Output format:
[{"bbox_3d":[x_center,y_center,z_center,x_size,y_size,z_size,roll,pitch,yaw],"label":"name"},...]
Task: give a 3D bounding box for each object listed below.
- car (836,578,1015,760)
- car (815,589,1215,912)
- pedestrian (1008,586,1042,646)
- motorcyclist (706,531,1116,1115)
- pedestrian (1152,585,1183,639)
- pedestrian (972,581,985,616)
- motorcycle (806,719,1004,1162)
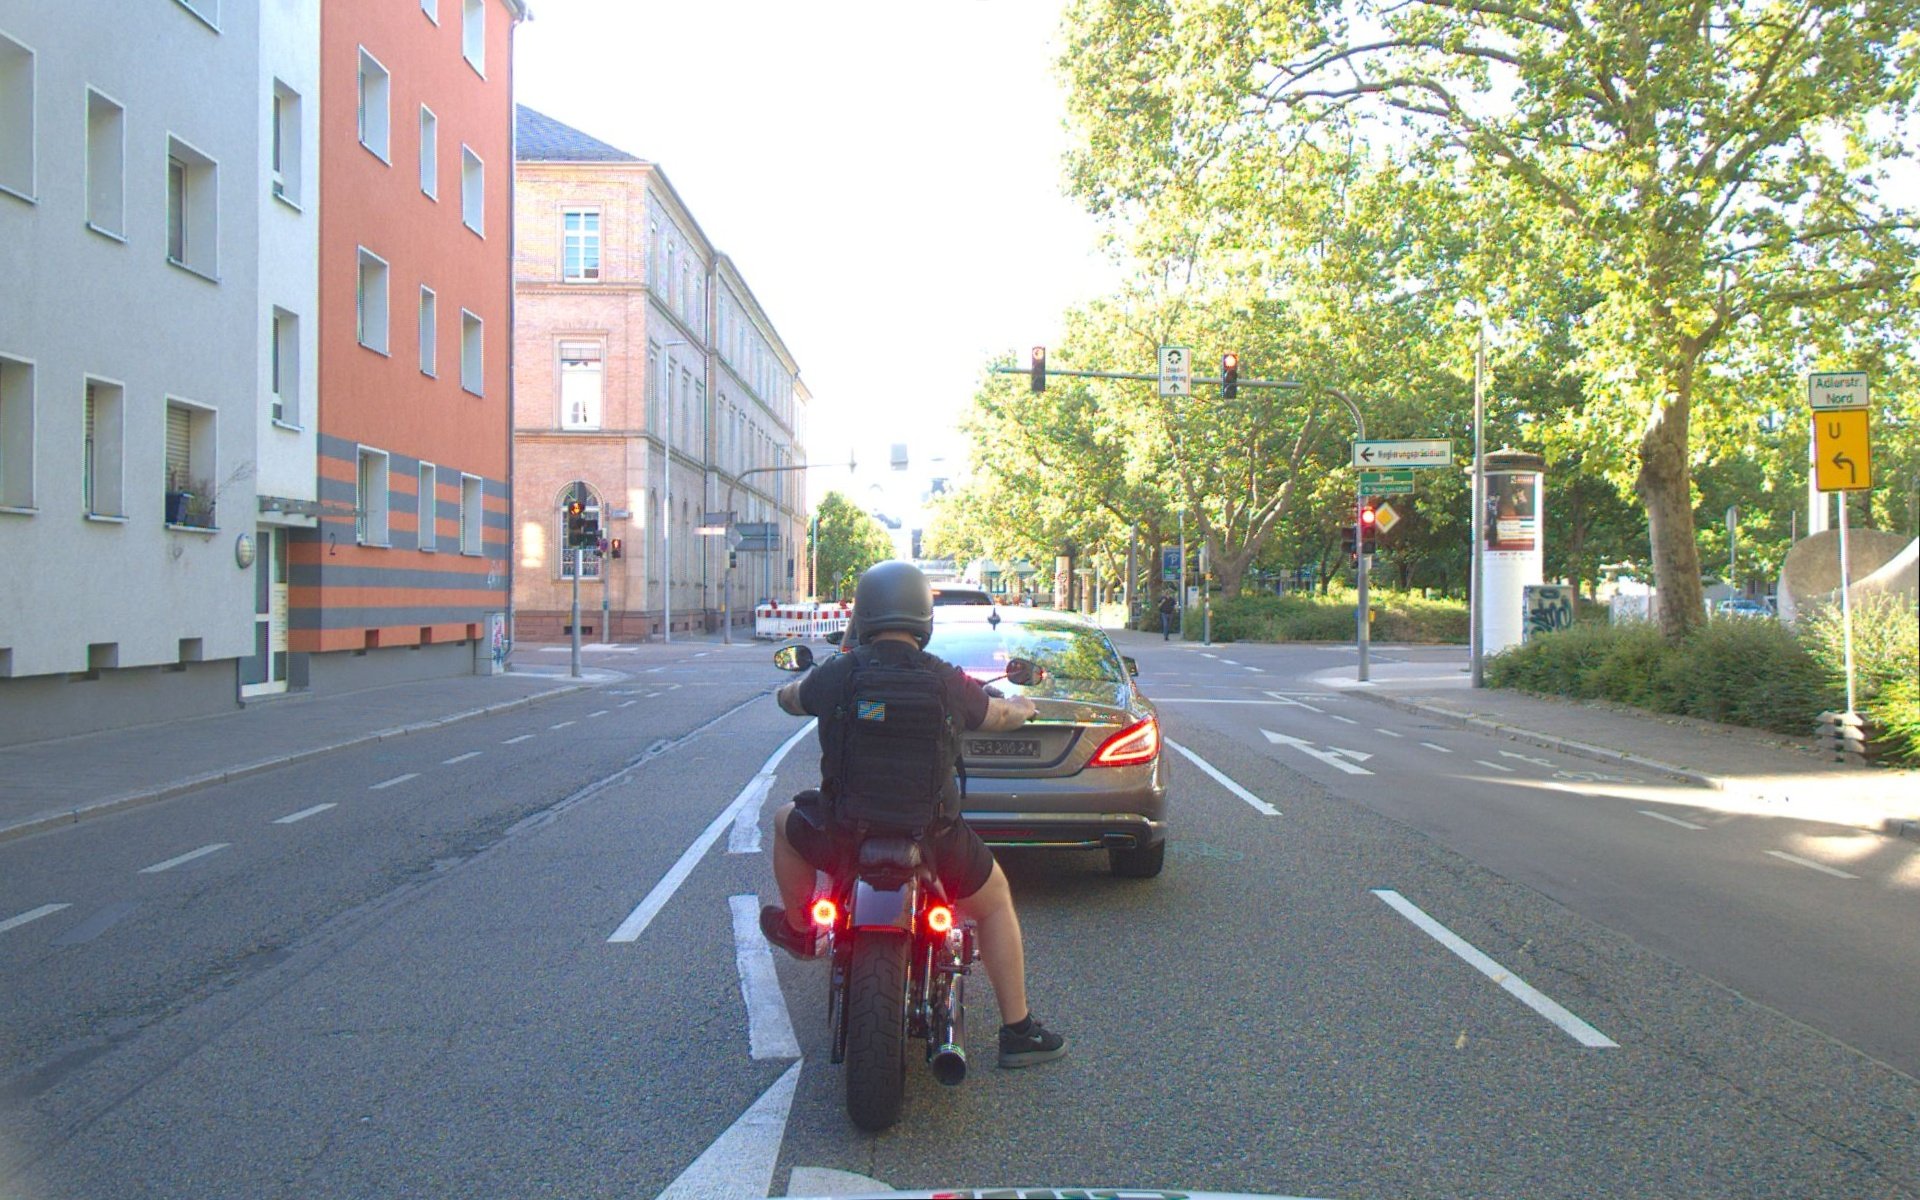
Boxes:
[{"bbox_3d":[-0.333,0.605,16.729,1.588,1.622,3.999,0,0,-1],"label":"car"},{"bbox_3d":[0.233,0.693,9.621,1.844,1.475,3.819,1,0,-1],"label":"car"},{"bbox_3d":[2.071,0.502,52.634,0.980,1.858,1.077,1,0,5],"label":"pedestrian"},{"bbox_3d":[-0.144,0.630,5.297,1.125,1.626,1.288,1,0,-1],"label":"motorcyclist"},{"bbox_3d":[7.599,0.431,60.579,0.741,1.943,0.917,1,-1,-29],"label":"pedestrian"},{"bbox_3d":[1.106,-0.091,100.863,0.748,2.087,0.712,1,-1,-1],"label":"pedestrian"},{"bbox_3d":[-0.158,0.969,5.354,0.503,1.020,2.013,1,0,-1],"label":"motorcycle"}]
